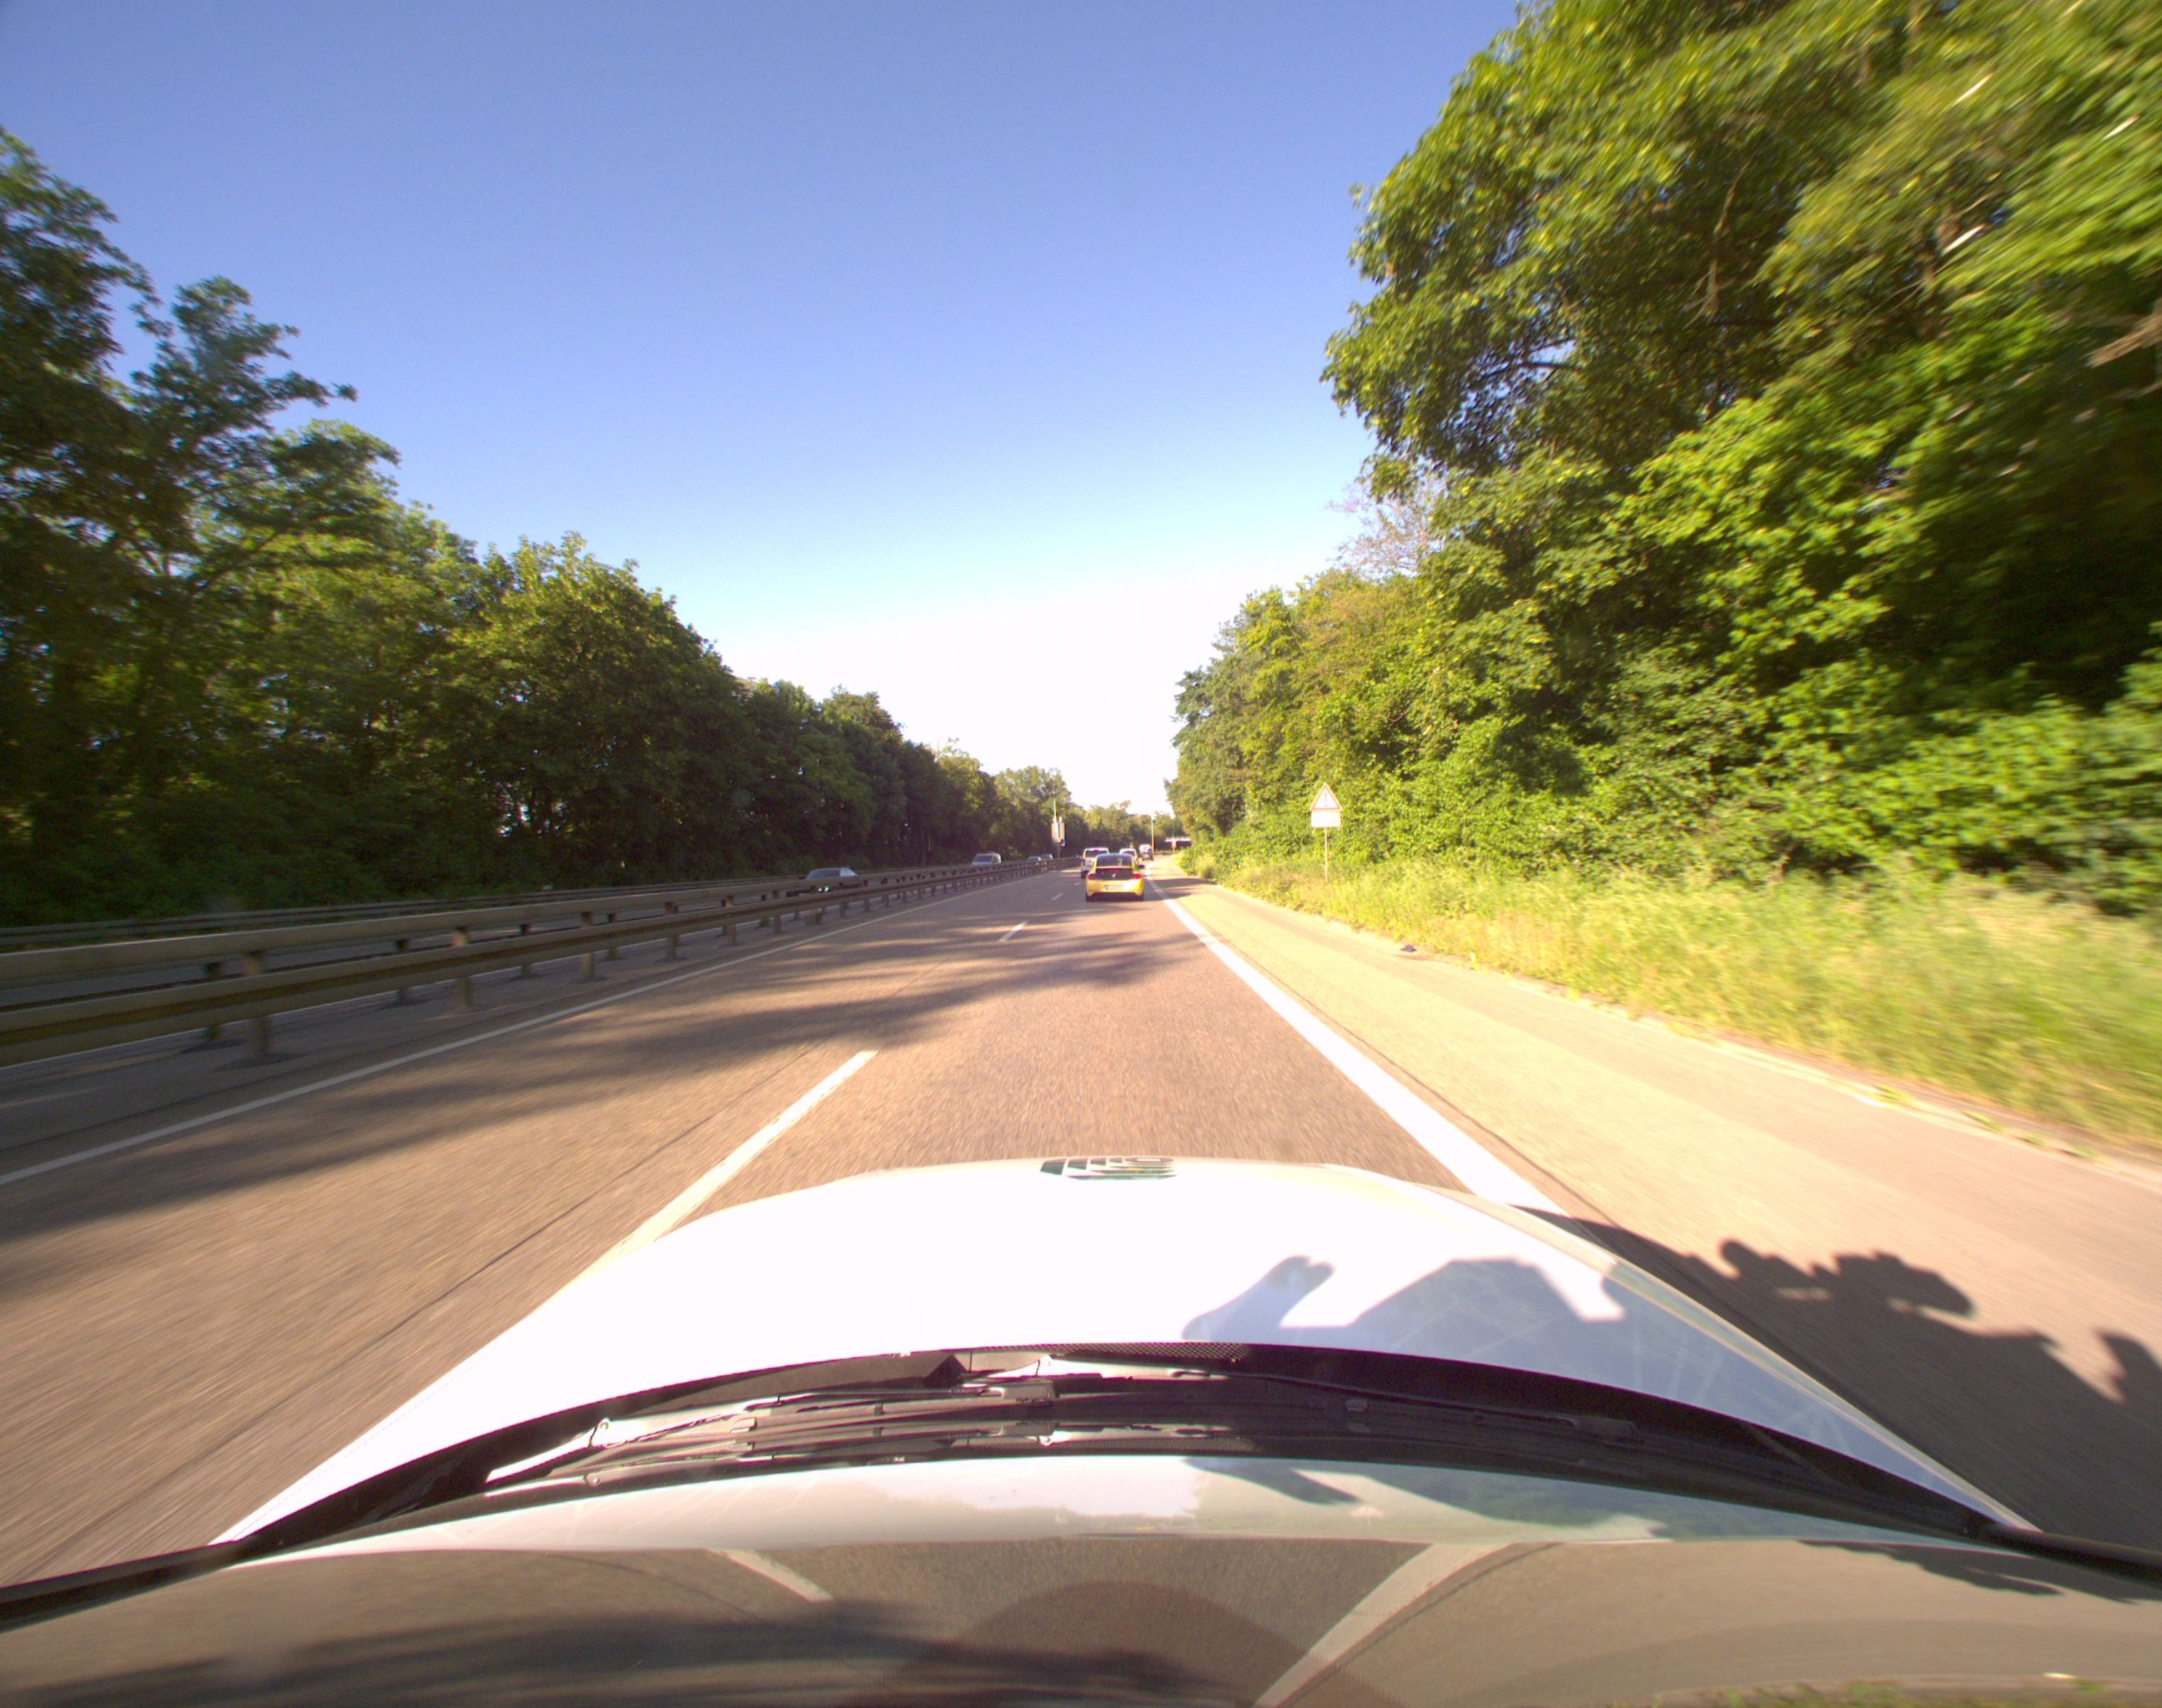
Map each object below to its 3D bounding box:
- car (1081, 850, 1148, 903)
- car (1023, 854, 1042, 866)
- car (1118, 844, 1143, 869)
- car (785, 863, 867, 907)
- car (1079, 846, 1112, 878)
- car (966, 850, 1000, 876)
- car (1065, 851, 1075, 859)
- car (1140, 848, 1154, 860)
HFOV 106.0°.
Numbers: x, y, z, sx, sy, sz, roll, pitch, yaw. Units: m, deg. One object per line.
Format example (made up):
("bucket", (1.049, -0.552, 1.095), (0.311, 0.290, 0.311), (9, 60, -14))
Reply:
("car", (1.052, 0.665, 25.989), (1.932, 1.508, 3.424), (-2, 0, 2))
("car", (-5.695, 0.709, 96.096), (1.589, 1.314, 3.916), (-4, 0, 6))
("car", (4.331, 0.211, 71.731), (1.986, 2.013, 4.002), (-4, 0, 2))
("car", (-9.962, 1.178, 32.199), (1.591, 1.453, 4.349), (-4, 0, 3))
("car", (0.866, 0.444, 47.659), (1.734, 1.830, 3.426), (0, 0, 4))
("car", (-8.112, 0.711, 68.134), (1.880, 1.903, 5.418), (-4, 0, 2))
("car", (-2.195, 0.093, 160.360), (1.589, 1.480, 3.916), (-2, 0, 6))
("car", (10.695, -0.036, 131.703), (2.253, 1.875, 5.083), (-1, 0, 5))
